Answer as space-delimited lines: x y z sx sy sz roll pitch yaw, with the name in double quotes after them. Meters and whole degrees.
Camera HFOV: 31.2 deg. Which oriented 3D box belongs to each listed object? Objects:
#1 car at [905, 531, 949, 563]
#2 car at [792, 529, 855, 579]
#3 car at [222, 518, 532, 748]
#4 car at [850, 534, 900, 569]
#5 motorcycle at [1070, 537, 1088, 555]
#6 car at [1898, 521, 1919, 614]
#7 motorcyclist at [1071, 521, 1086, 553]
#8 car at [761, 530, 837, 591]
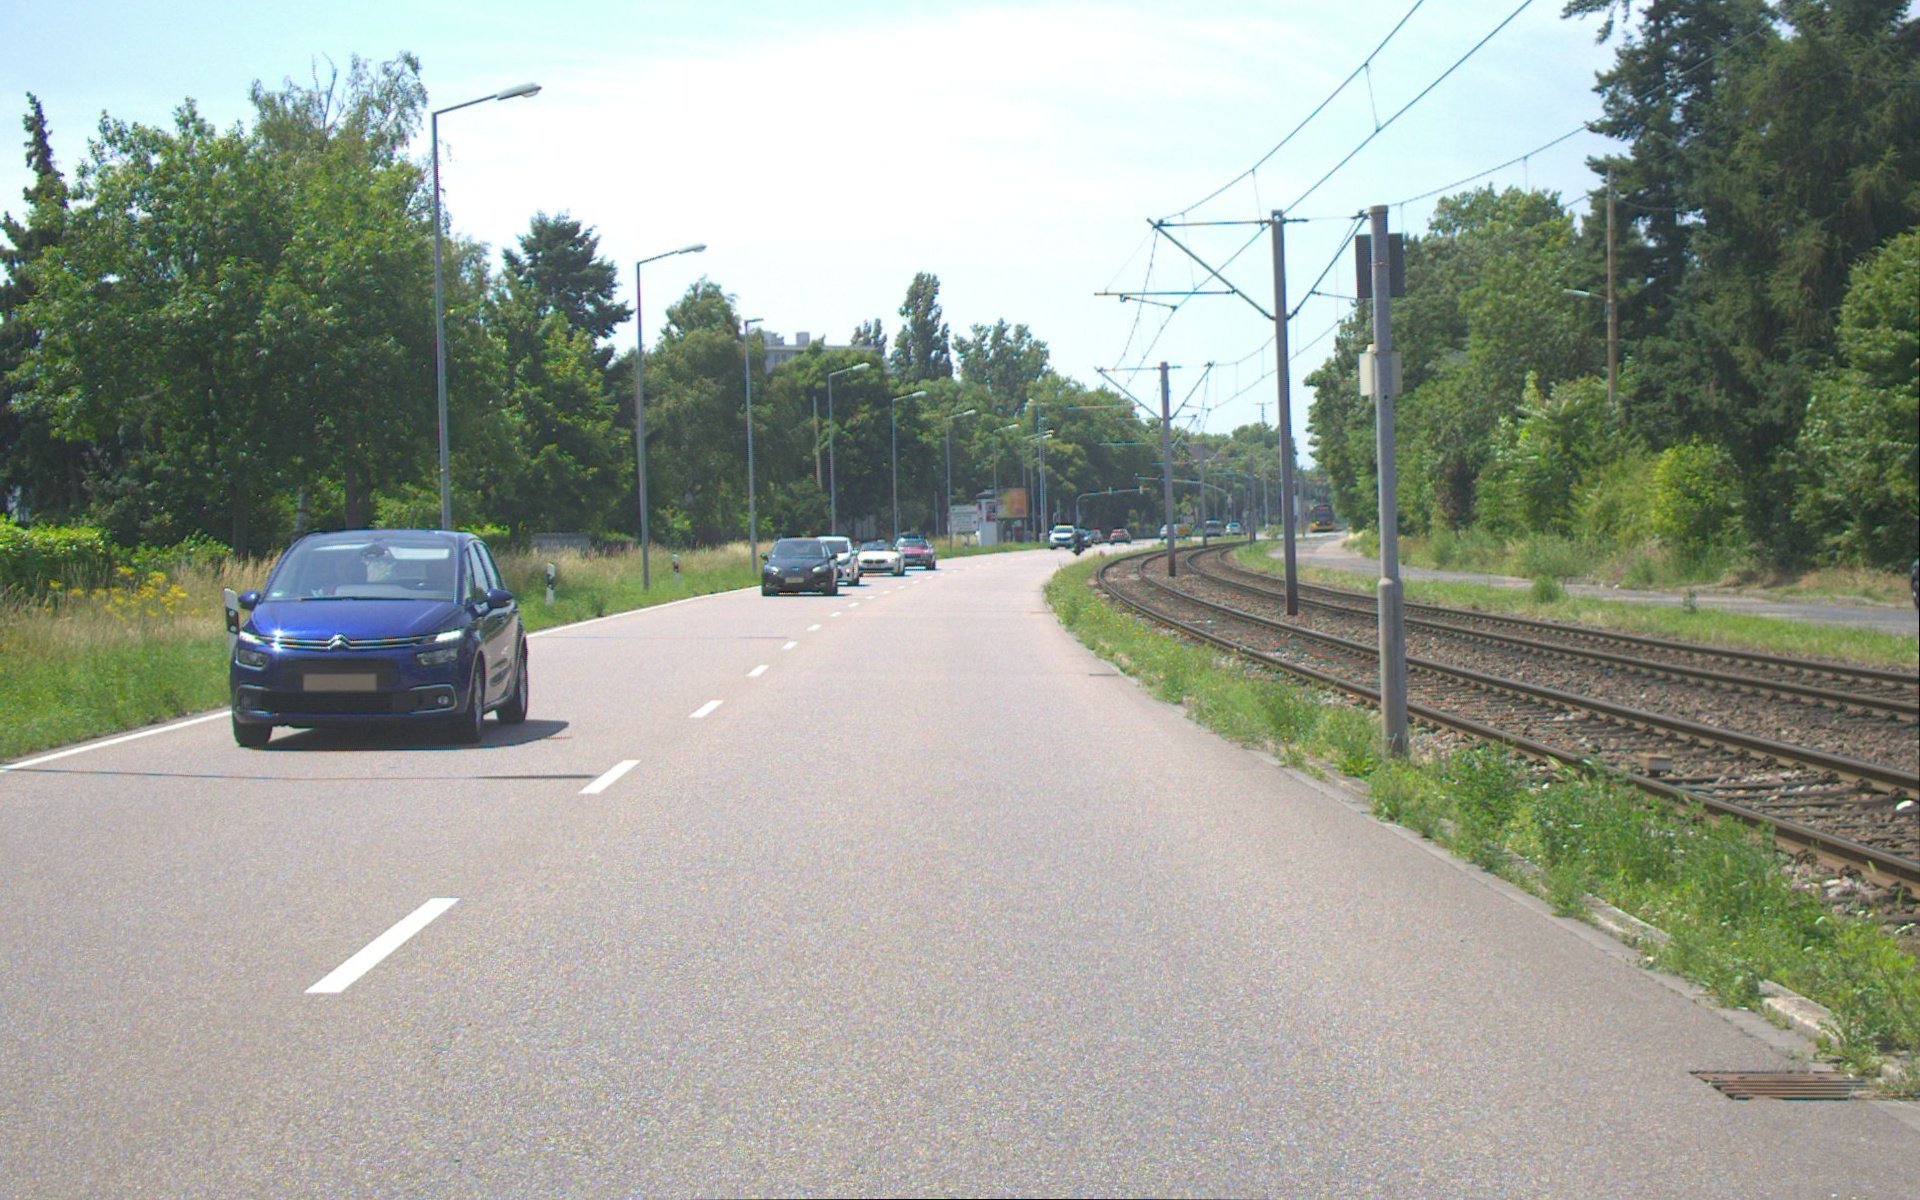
-1.354 -2.216 143.590 1.749 1.296 4.253 -1 1 1 "car"
-4.162 -1.421 105.319 1.747 1.498 3.707 -1 1 0 "car"
-4.430 0.205 26.648 1.747 1.626 4.030 -1 1 -1 "car"
-3.071 -1.758 124.899 1.682 1.245 3.909 -1 1 1 "car"
7.229 -3.279 208.868 0.970 1.113 2.732 -1 1 5 "motorcycle"
16.045 -0.512 53.297 1.914 1.465 4.000 -1 1 0 "car"
7.211 -3.827 208.922 0.892 1.898 1.015 -1 1 4 "motorcyclist"
-4.097 -1.020 88.083 1.700 1.486 4.440 -1 1 0 "car"
